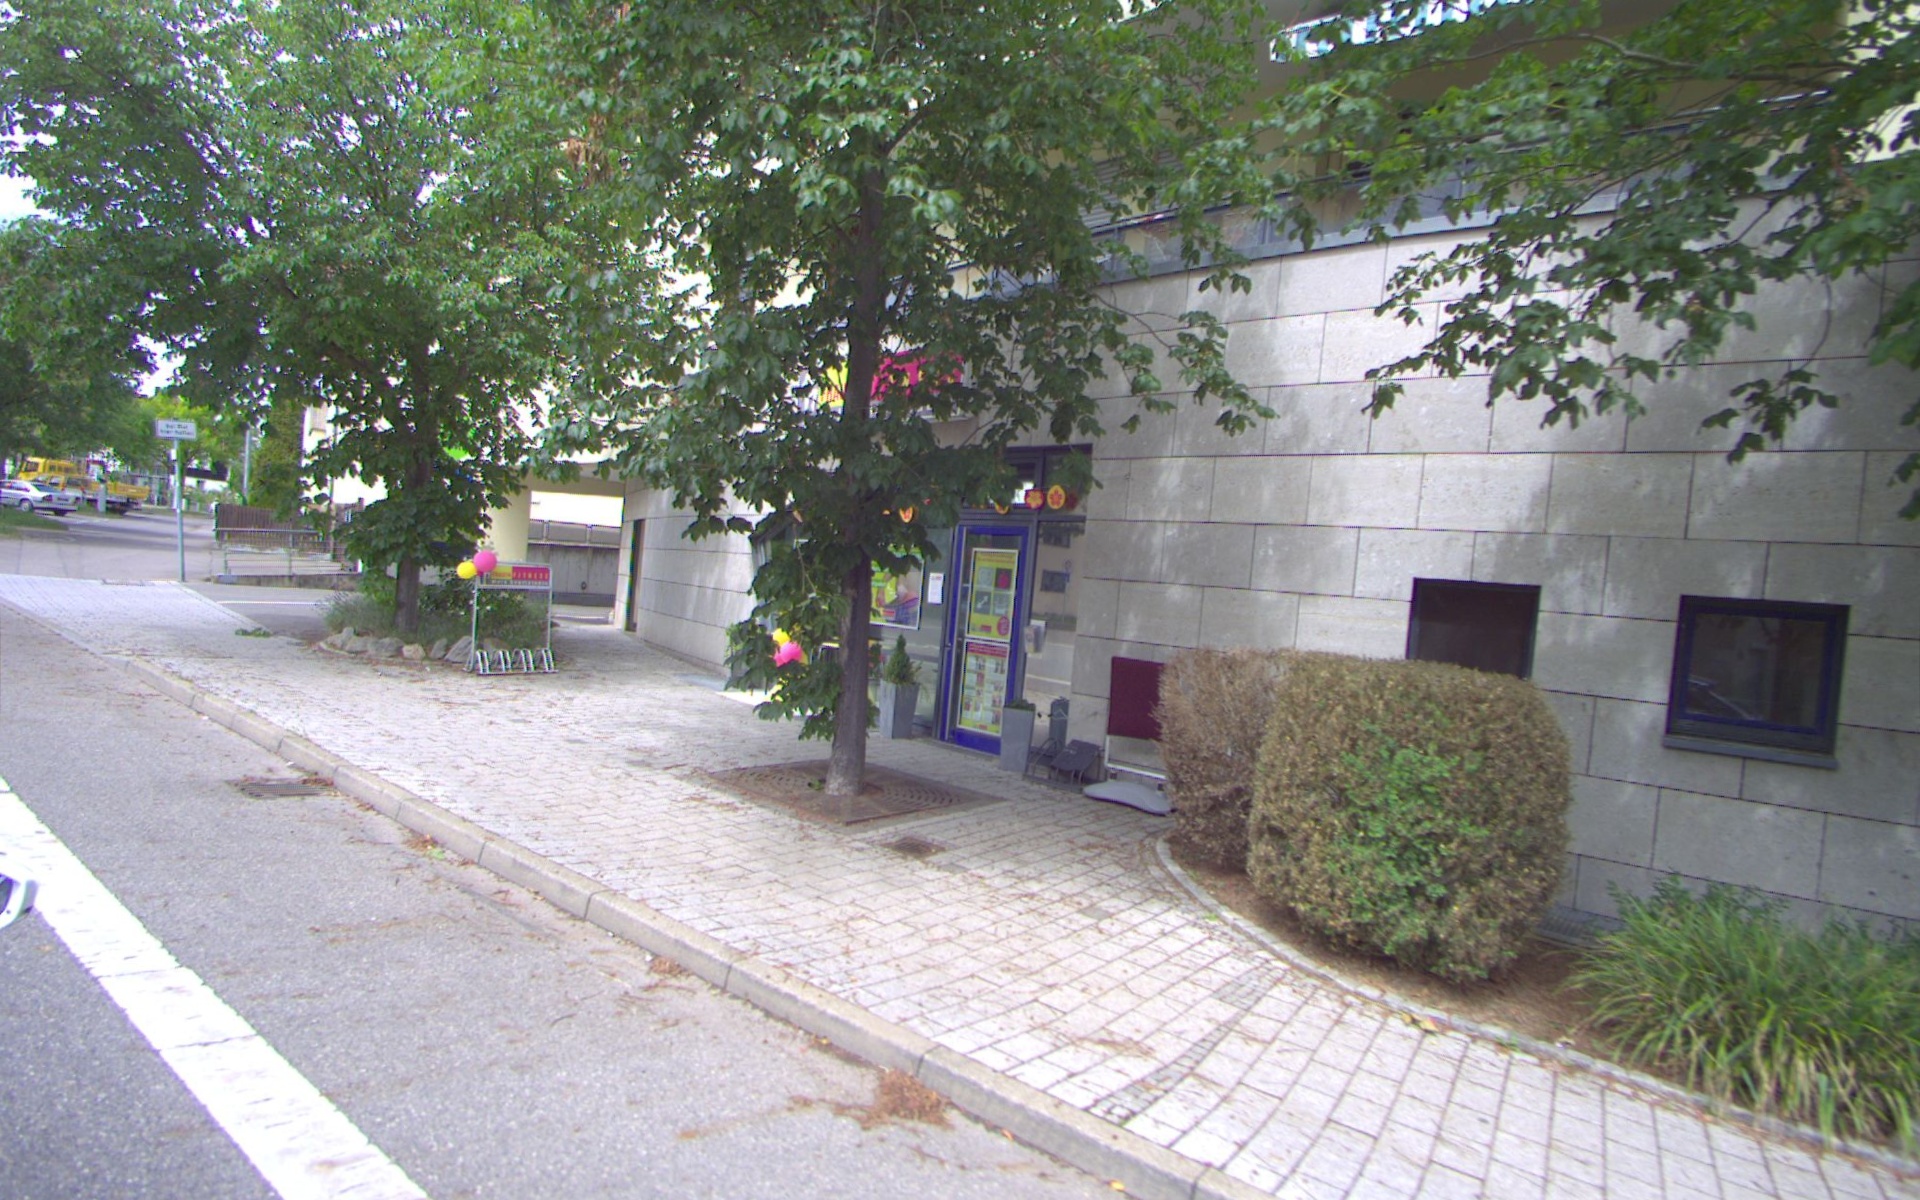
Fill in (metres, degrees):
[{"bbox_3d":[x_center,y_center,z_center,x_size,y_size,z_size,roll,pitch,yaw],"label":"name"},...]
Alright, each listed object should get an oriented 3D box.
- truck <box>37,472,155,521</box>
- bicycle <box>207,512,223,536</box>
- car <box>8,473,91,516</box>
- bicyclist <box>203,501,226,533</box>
[{"bbox_3d":[-51.944,-6.173,60.665,2.050,2.038,5.616,6,-1,1],"label":"truck"},{"bbox_3d":[-35.851,-3.643,48.409,0.459,1.047,2.738,5,0,-35],"label":"bicycle"},{"bbox_3d":[-56.617,-6.524,62.620,1.711,2.038,3.766,6,-1,-3],"label":"car"},{"bbox_3d":[-35.935,-3.992,48.497,0.773,1.417,0.695,6,0,-36],"label":"bicyclist"}]
